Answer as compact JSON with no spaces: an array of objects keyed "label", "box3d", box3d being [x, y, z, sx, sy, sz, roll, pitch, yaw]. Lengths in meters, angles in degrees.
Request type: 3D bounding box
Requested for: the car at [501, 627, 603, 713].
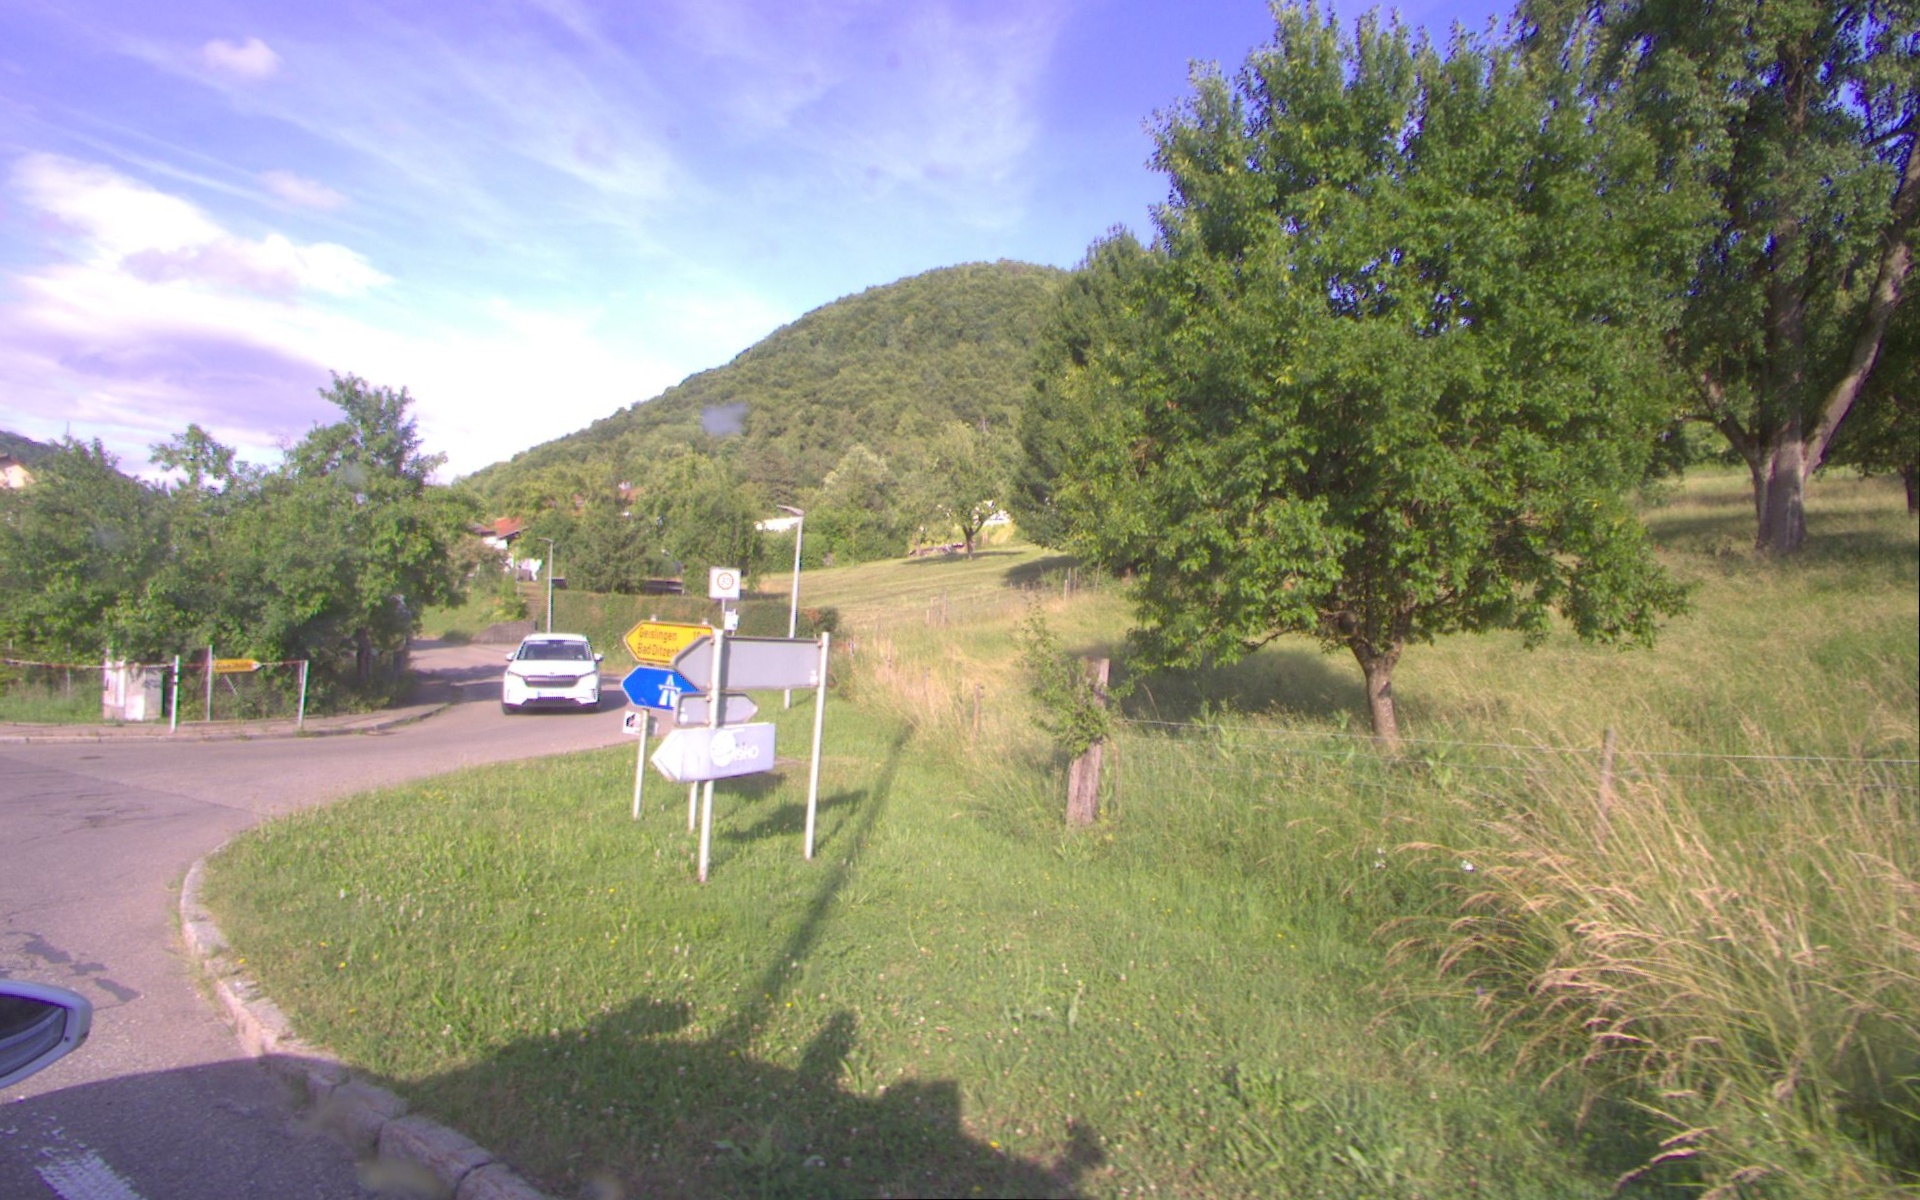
[{"label":"car","box3d":[-8.926,1.453,22.006,1.843,1.631,4.558,2,-1,-22]}]
